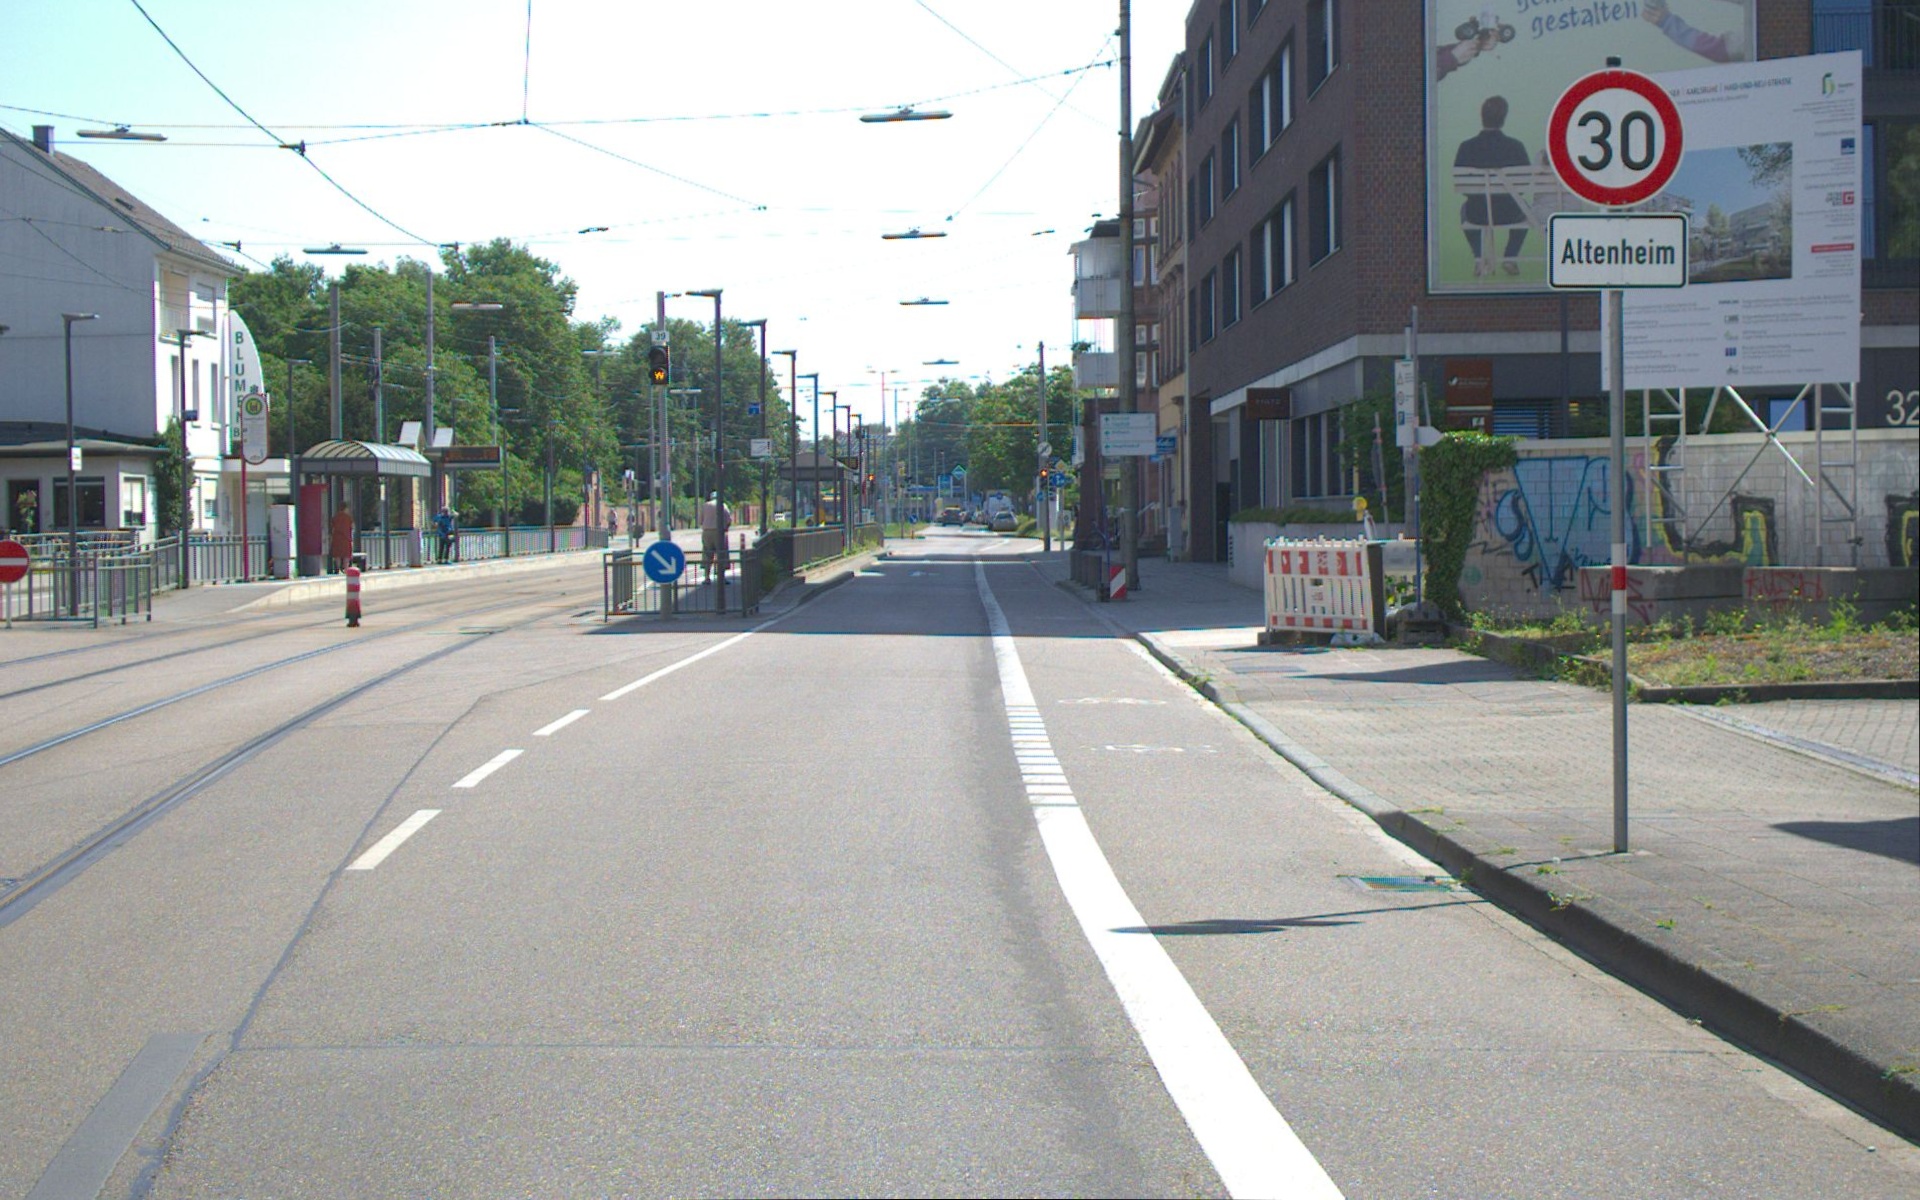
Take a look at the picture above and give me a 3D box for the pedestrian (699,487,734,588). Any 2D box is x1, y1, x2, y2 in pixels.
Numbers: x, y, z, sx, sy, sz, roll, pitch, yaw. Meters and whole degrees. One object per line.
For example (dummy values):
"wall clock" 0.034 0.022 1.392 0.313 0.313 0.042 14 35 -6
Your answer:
"pedestrian" -4.284 -1.106 60.420 0.556 1.754 0.794 -1 2 -6

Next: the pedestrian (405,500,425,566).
"pedestrian" -13.953 -1.716 88.032 0.415 1.684 0.708 -1 2 -13

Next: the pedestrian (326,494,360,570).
"pedestrian" -13.838 -1.530 77.116 0.705 1.684 0.416 -1 1 -7
